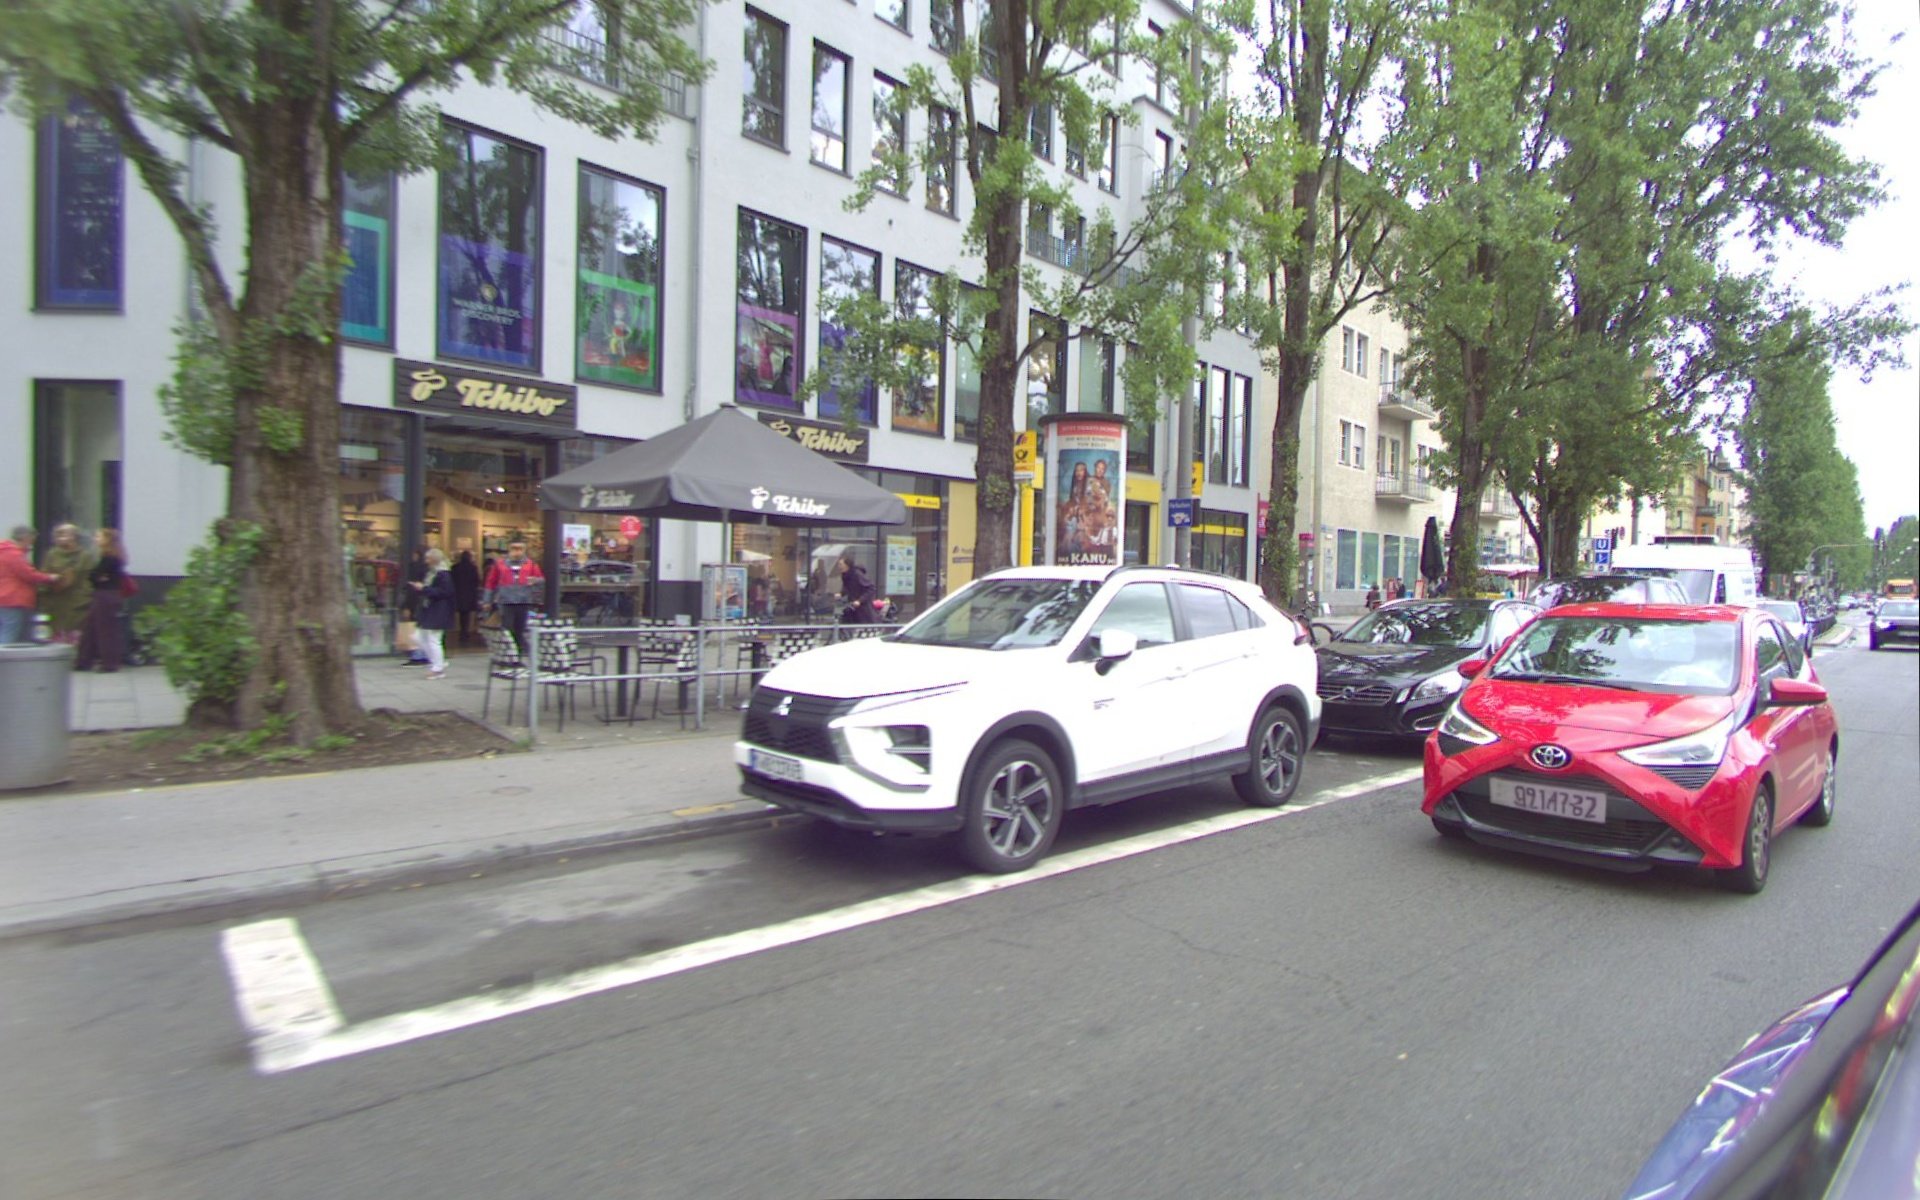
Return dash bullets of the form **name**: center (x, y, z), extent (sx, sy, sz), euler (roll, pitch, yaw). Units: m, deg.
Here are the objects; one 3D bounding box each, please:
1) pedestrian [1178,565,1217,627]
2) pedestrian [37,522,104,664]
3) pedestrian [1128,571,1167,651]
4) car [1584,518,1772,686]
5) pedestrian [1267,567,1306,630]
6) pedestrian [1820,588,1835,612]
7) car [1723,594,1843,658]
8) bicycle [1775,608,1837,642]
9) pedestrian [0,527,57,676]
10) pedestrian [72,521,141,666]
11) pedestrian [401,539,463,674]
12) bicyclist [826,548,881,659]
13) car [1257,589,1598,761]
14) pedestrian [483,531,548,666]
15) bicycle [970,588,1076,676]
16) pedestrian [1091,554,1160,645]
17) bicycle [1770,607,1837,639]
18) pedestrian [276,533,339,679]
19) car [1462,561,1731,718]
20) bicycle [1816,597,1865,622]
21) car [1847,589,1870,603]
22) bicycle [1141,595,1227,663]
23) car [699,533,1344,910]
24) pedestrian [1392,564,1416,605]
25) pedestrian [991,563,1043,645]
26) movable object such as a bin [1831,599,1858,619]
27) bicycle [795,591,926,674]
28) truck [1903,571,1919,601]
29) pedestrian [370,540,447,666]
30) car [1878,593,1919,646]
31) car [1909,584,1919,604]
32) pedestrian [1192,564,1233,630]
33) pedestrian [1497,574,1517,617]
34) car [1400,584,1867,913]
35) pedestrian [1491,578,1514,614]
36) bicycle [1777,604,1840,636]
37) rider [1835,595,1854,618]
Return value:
- **pedestrian**: center (6.370, -0.110, 27.172), extent (0.691, 1.604, 0.760), euler (3, 2, 44)
- **pedestrian**: center (-10.632, -0.084, 12.094), extent (0.505, 1.644, 0.541), euler (1, 1, 42)
- **pedestrian**: center (3.251, 0.182, 17.558), extent (0.590, 1.358, 0.389), euler (0, 1, 24)
- **car**: center (13.845, -0.034, 19.359), extent (5.464, 2.775, 1.995), euler (-1, 1, -44)
- **pedestrian**: center (9.191, -0.050, 28.506), extent (0.725, 1.745, 0.723), euler (2, 2, -8)
- **pedestrian**: center (66.074, -0.006, 77.113), extent (0.727, 1.823, 0.702), euler (3, 3, 35)
- **car**: center (20.649, 0.584, 25.326), extent (4.076, 1.472, 1.727), euler (0, 0, -42)
- **bicycle**: center (27.621, 0.818, 33.060), extent (0.535, 1.068, 1.578), euler (0, -2, -8)
- **pedestrian**: center (-10.723, 0.008, 11.469), extent (0.540, 1.644, 0.506), euler (0, 1, 11)
- **pedestrian**: center (-9.995, -0.079, 11.857), extent (0.546, 1.644, 0.501), euler (1, 1, 37)
- **pedestrian**: center (-6.371, 0.065, 12.209), extent (0.559, 1.586, 0.491), euler (0, 2, -39)
- **bicyclist**: center (-1.452, 0.033, 13.706), extent (0.432, 1.466, 0.640), euler (0, 2, -39)
- **car**: center (5.135, 0.624, 10.783), extent (4.494, 1.451, 1.773), euler (0, 0, -43)
- **pedestrian**: center (-5.967, -0.029, 13.571), extent (0.754, 1.746, 0.671), euler (1, 2, -25)
- **bicycle**: center (0.908, 0.440, 14.975), extent (0.875, 1.153, 1.517), euler (1, 3, -28)
- **pedestrian**: center (3.131, -0.018, 19.119), extent (1.007, 1.657, 0.800), euler (0, 2, -44)
- **bicycle**: center (28.558, 0.789, 34.296), extent (0.535, 1.068, 1.803), euler (0, -2, -8)
- **pedestrian**: center (-7.622, 0.056, 11.814), extent (0.559, 1.654, 0.491), euler (0, 2, -39)
- **car**: center (8.974, 0.428, 14.092), extent (4.697, 1.827, 1.932), euler (0, 1, -42)
- **bicycle**: center (42.639, 0.427, 49.021), extent (0.578, 1.151, 1.799), euler (0, 1, -10)
- **car**: center (115.992, -0.523, 130.599), extent (1.994, 1.660, 3.937), euler (3, 2, 44)
- **bicycle**: center (3.794, 0.476, 17.198), extent (1.296, 1.036, 0.564), euler (3, 3, 36)
- **car**: center (0.664, 0.516, 6.690), extent (4.333, 1.707, 1.729), euler (0, 1, -42)
- **pedestrian**: center (18.433, -0.652, 42.002), extent (0.752, 1.671, 0.601), euler (0, 2, -44)
- **pedestrian**: center (1.135, 0.064, 20.127), extent (0.738, 1.577, 0.683), euler (0, 2, -44)
- **movable object such as a bin**: center (51.000, 0.525, 58.377), extent (1.086, 1.075, 0.736), euler (5, 4, 41)
- **bicycle**: center (-1.369, 0.429, 14.147), extent (1.772, 1.076, 0.591), euler (0, 2, -40)
- **truck**: center (119.456, -1.705, 126.132), extent (2.535, 3.531, 7.629), euler (3, 3, 44)
- **pedestrian**: center (-7.244, 0.029, 13.312), extent (0.558, 1.595, 0.672), euler (2, 2, 21)
- **car**: center (28.890, 0.553, 30.469), extent (1.734, 1.488, 3.990), euler (2, 2, 41)
- **car**: center (85.423, -0.550, 89.659), extent (1.854, 1.726, 3.938), euler (4, 3, 43)
- **pedestrian**: center (6.517, -0.085, 26.123), extent (0.691, 1.669, 0.785), euler (3, 2, 44)
- **pedestrian**: center (24.437, -0.205, 45.197), extent (0.712, 1.851, 0.722), euler (2, 2, 30)
- **car**: center (4.395, 0.646, 6.407), extent (3.535, 1.464, 1.667), euler (-1, 2, -42)
- **pedestrian**: center (23.871, -0.189, 44.548), extent (0.717, 1.546, 0.677), euler (0, 2, -44)
- **bicycle**: center (30.529, 0.739, 36.441), extent (0.535, 1.119, 1.803), euler (0, -2, -8)
- **rider**: center (50.942, 0.378, 58.291), extent (0.729, 1.256, 0.722), euler (5, 4, 41)
